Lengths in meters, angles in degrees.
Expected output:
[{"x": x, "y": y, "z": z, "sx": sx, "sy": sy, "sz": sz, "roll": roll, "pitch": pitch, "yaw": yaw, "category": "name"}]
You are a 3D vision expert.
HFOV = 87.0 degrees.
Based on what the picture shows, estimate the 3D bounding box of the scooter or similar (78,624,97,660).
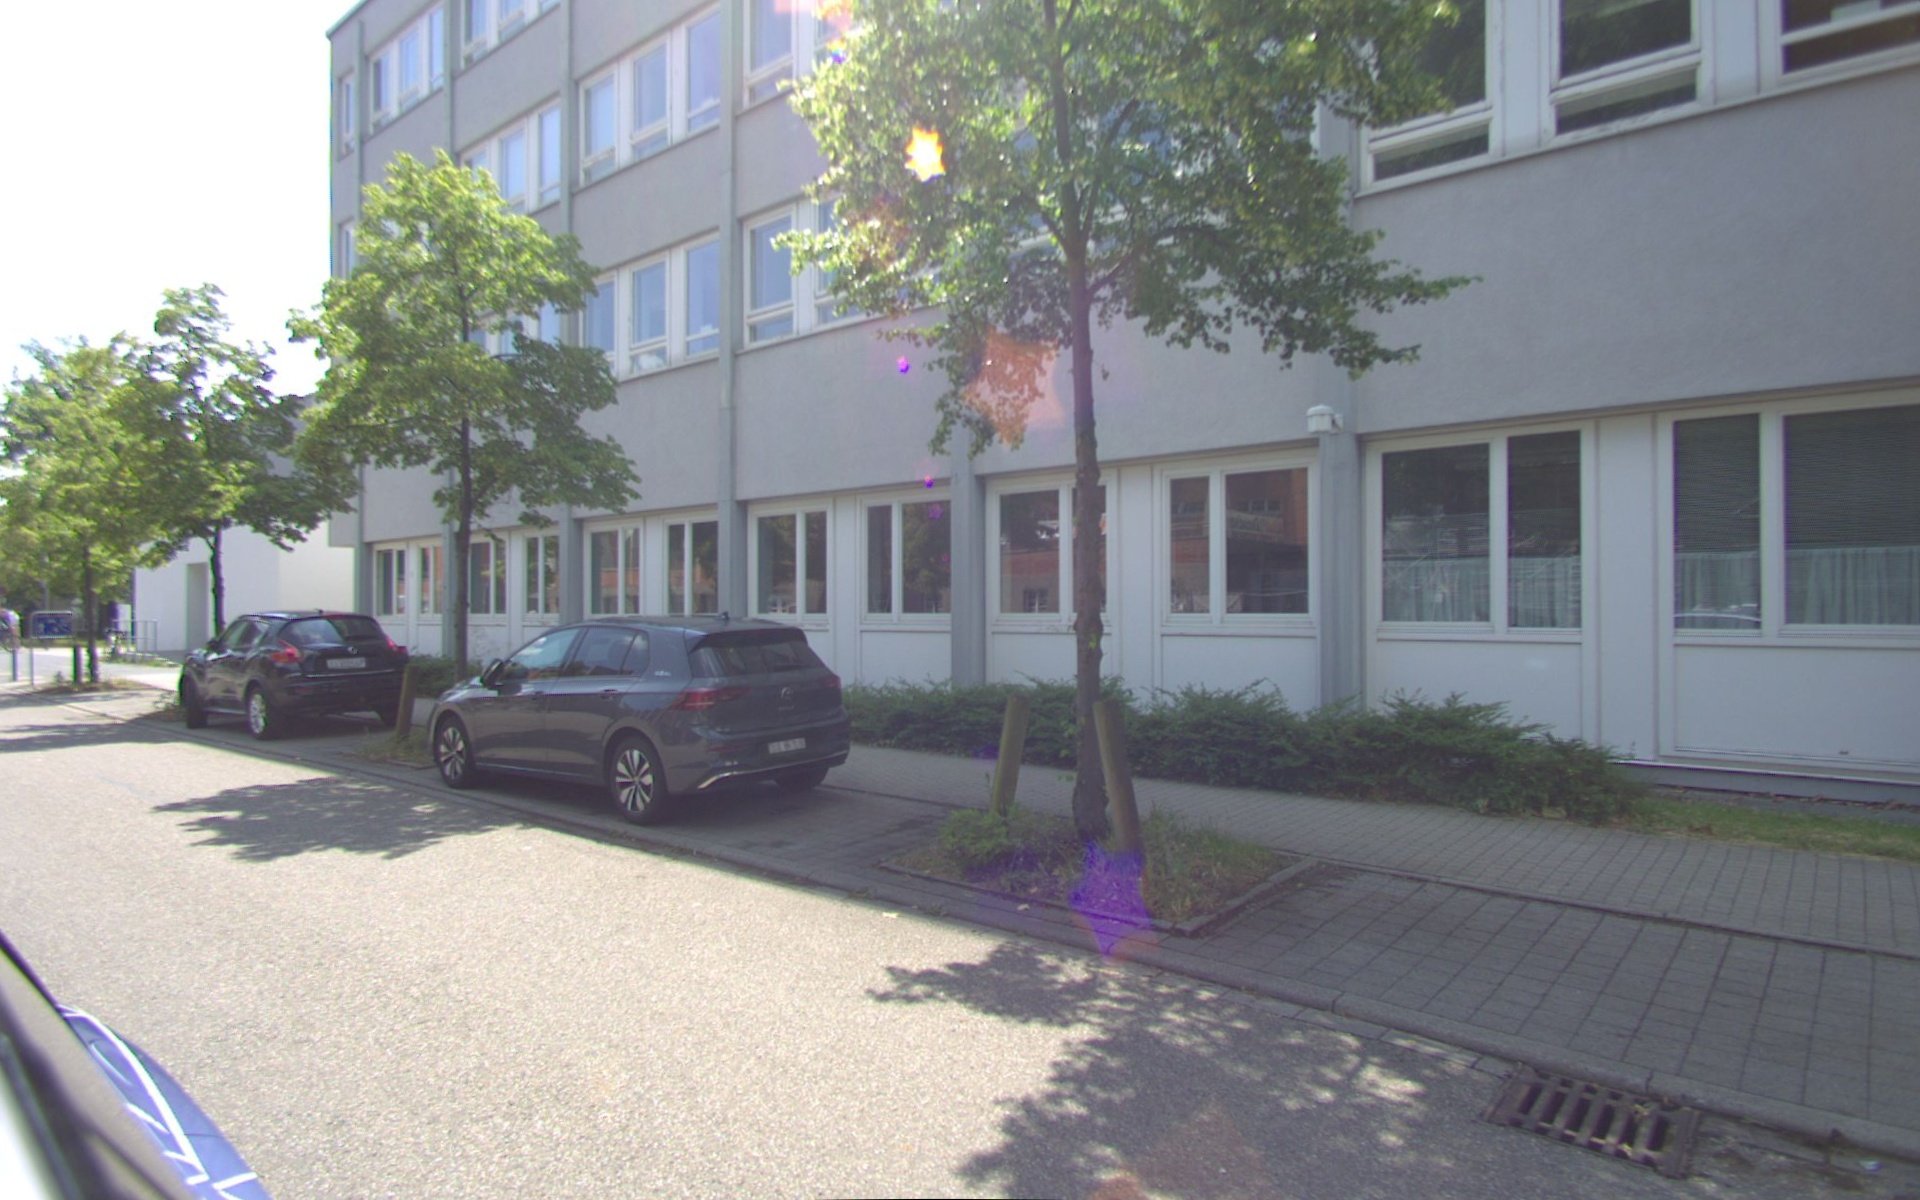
[{"x": -31.480, "y": 1.514, "z": 36.513, "sx": 0.476, "sy": 1.272, "sz": 1.316, "roll": 0, "pitch": -1, "yaw": -39, "category": "scooter or similar"}]

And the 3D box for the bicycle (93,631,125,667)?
[{"x": -26.502, "y": 1.509, "z": 31.513, "sx": 1.899, "sy": 1.069, "sz": 0.537, "roll": -1, "pitch": -1, "yaw": 44, "category": "bicycle"}]

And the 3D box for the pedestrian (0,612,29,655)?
[{"x": -41.946, "y": 1.469, "z": 44.592, "sx": 1.007, "sy": 1.862, "sz": 0.919, "roll": 2, "pitch": -3, "yaw": -21, "category": "pedestrian"}]

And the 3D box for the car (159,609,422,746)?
[{"x": -9.005, "y": 0.928, "z": 13.511, "sx": 4.061, "sy": 1.576, "sz": 1.681, "roll": -1, "pitch": -1, "yaw": 37, "category": "car"}]

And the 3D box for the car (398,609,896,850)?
[{"x": -2.717, "y": 0.849, "z": 8.332, "sx": 4.251, "sy": 1.472, "sz": 1.762, "roll": -1, "pitch": 0, "yaw": 37, "category": "car"}]
